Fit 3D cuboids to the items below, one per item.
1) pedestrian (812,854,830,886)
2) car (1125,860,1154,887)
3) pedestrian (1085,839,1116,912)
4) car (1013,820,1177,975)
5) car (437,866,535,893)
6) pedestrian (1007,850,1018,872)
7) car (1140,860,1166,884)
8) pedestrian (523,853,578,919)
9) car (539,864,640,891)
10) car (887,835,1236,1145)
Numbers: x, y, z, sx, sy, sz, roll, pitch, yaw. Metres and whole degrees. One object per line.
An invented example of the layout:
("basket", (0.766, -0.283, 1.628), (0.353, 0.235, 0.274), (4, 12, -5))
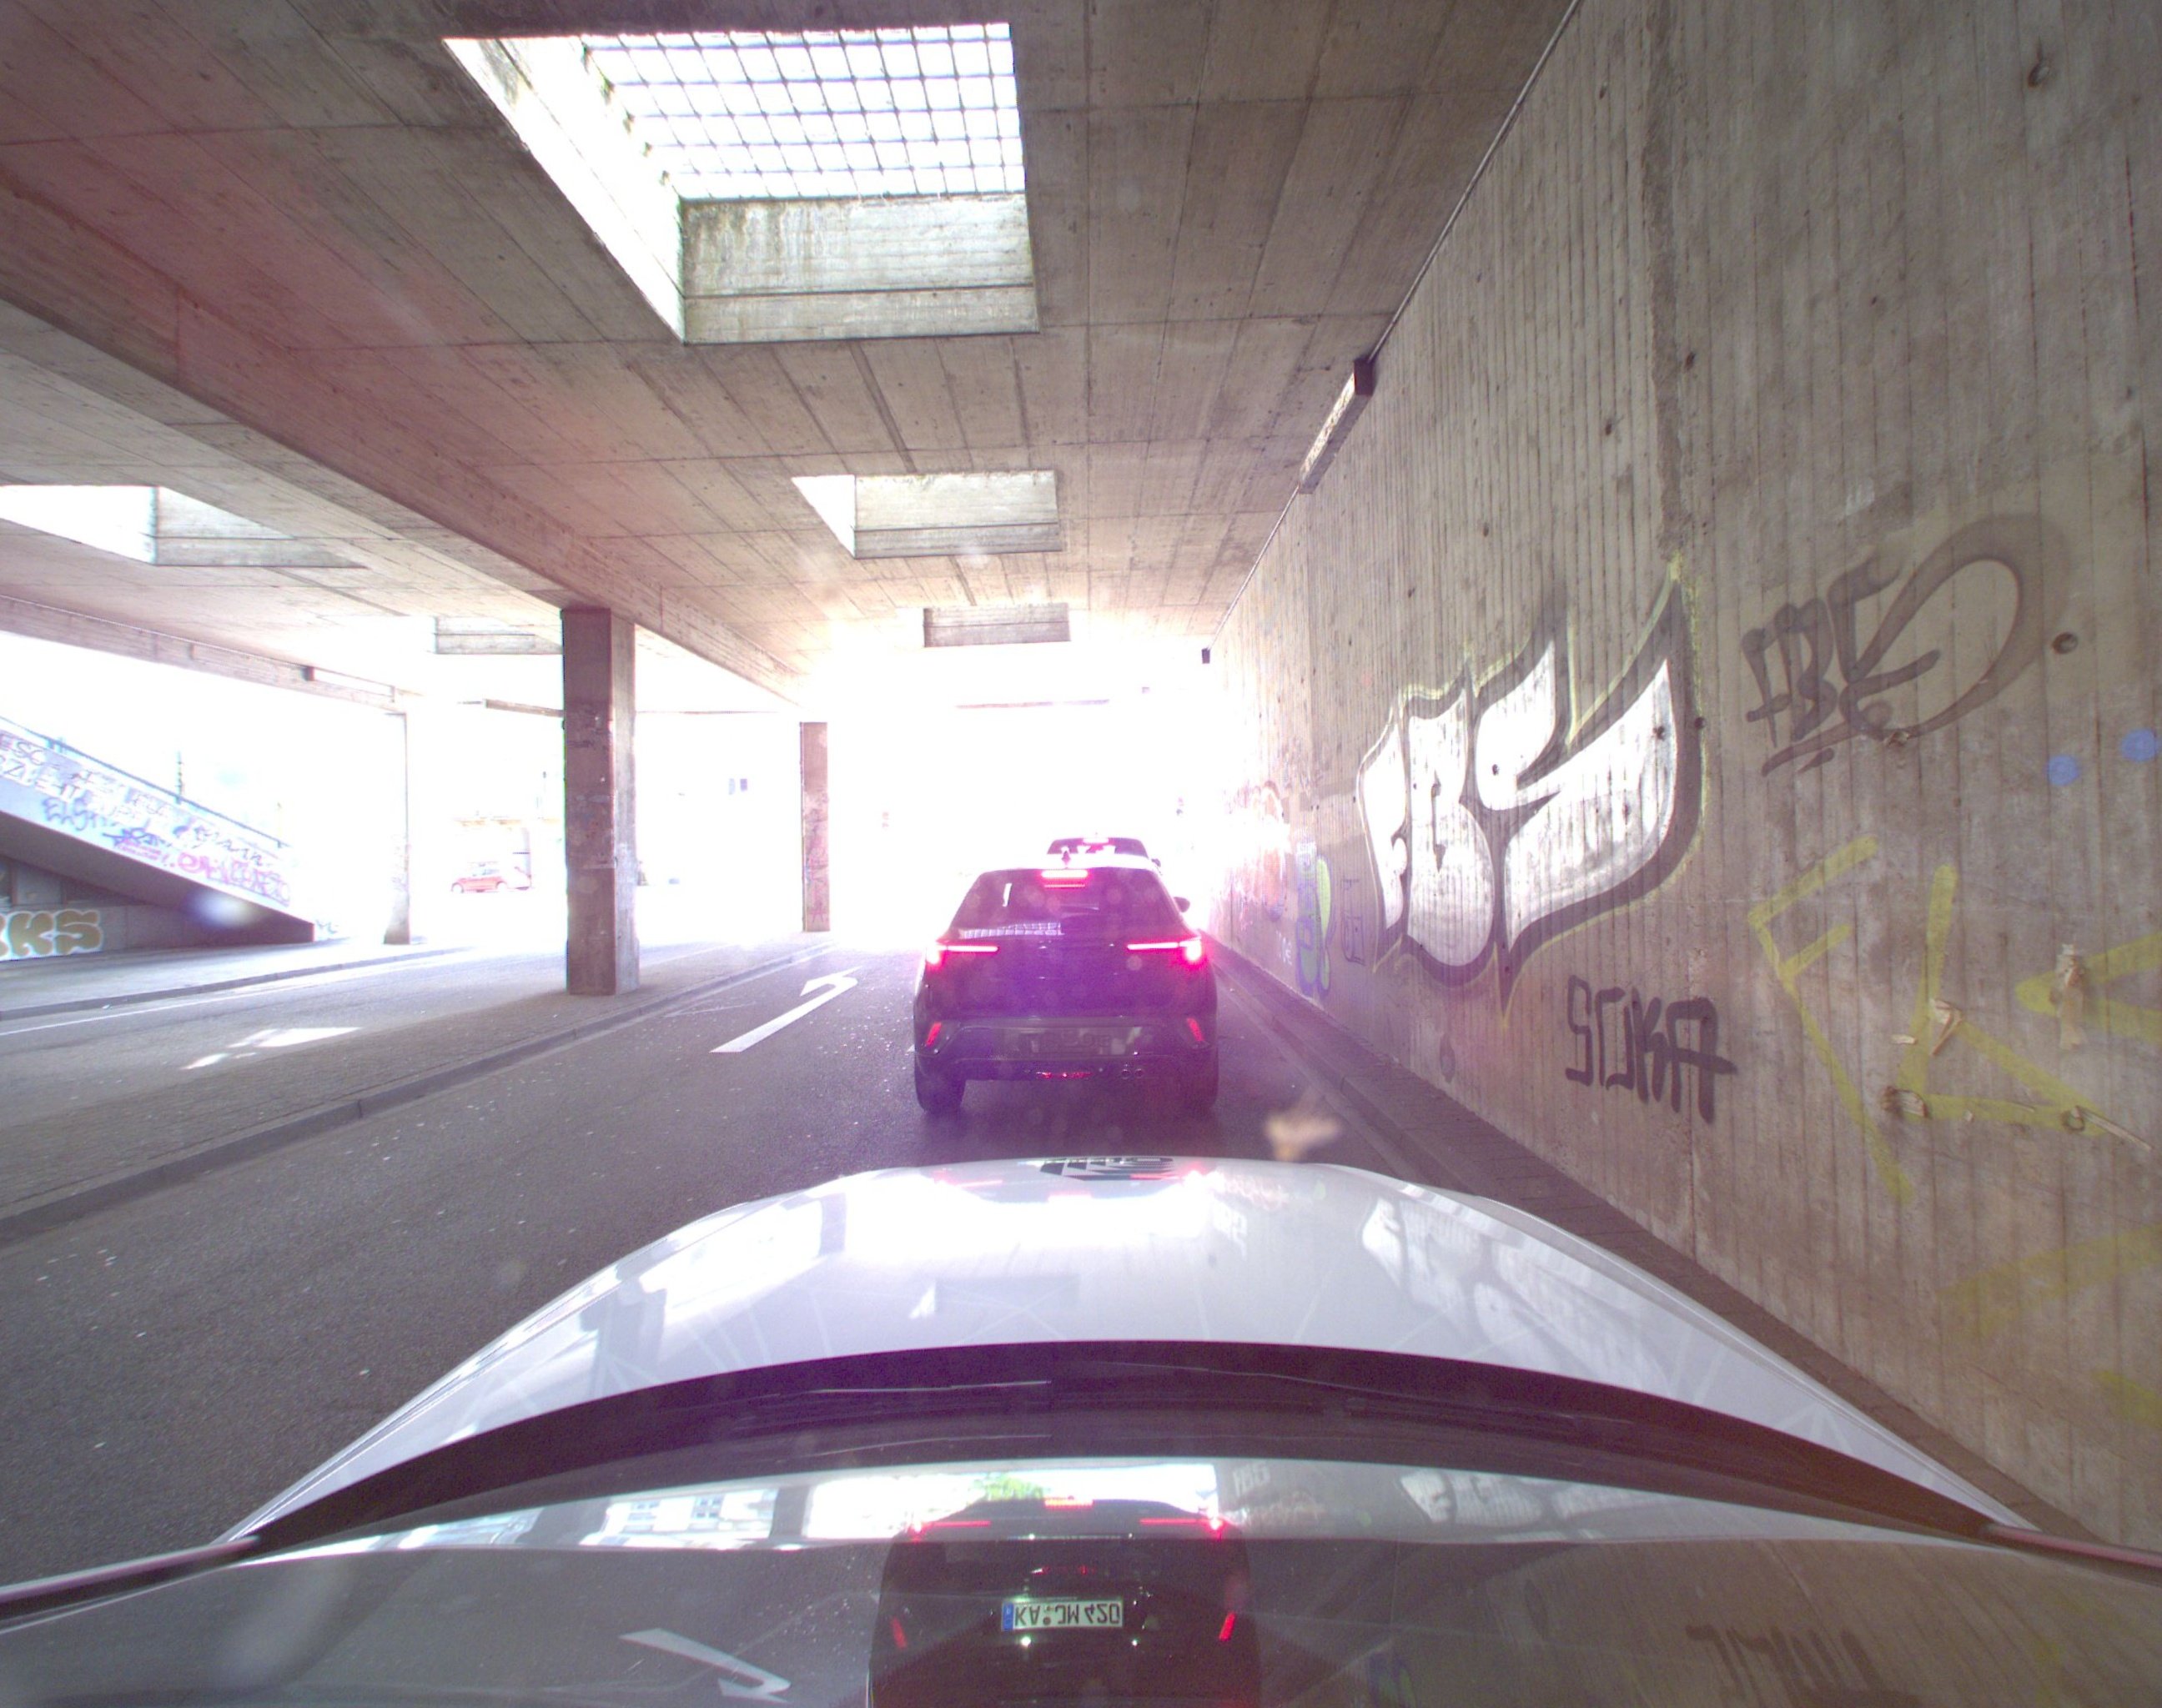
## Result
("pedestrian", (-13.499, 0.817, 42.264), (0.669, 1.637, 0.741), (0, -1, 1))
("car", (4.515, 1.443, 62.395), (1.983, 1.970, 4.172), (0, -1, 7))
("pedestrian", (0.471, 0.517, 19.956), (0.728, 1.734, 0.874), (0, -1, 1))
("car", (0.239, 0.543, 12.109), (1.986, 1.871, 4.002), (-2, 0, 2))
("car", (-33.008, 1.391, 45.294), (3.975, 1.409, 1.925), (0, -1, -1))
("pedestrian", (-6.511, 0.695, 77.672), (0.887, 2.088, 0.810), (0, -1, 9))
("car", (6.094, 1.510, 68.443), (1.983, 1.970, 4.172), (0, -1, 7))
("pedestrian", (-14.302, 0.851, 21.968), (0.925, 1.762, 0.795), (0, -1, 3))
("car", (-27.295, 1.294, 45.318), (4.393, 1.409, 1.925), (0, -1, -1))
("car", (-0.035, 0.655, 6.129), (1.758, 1.571, 4.002), (0, 1, 2))
